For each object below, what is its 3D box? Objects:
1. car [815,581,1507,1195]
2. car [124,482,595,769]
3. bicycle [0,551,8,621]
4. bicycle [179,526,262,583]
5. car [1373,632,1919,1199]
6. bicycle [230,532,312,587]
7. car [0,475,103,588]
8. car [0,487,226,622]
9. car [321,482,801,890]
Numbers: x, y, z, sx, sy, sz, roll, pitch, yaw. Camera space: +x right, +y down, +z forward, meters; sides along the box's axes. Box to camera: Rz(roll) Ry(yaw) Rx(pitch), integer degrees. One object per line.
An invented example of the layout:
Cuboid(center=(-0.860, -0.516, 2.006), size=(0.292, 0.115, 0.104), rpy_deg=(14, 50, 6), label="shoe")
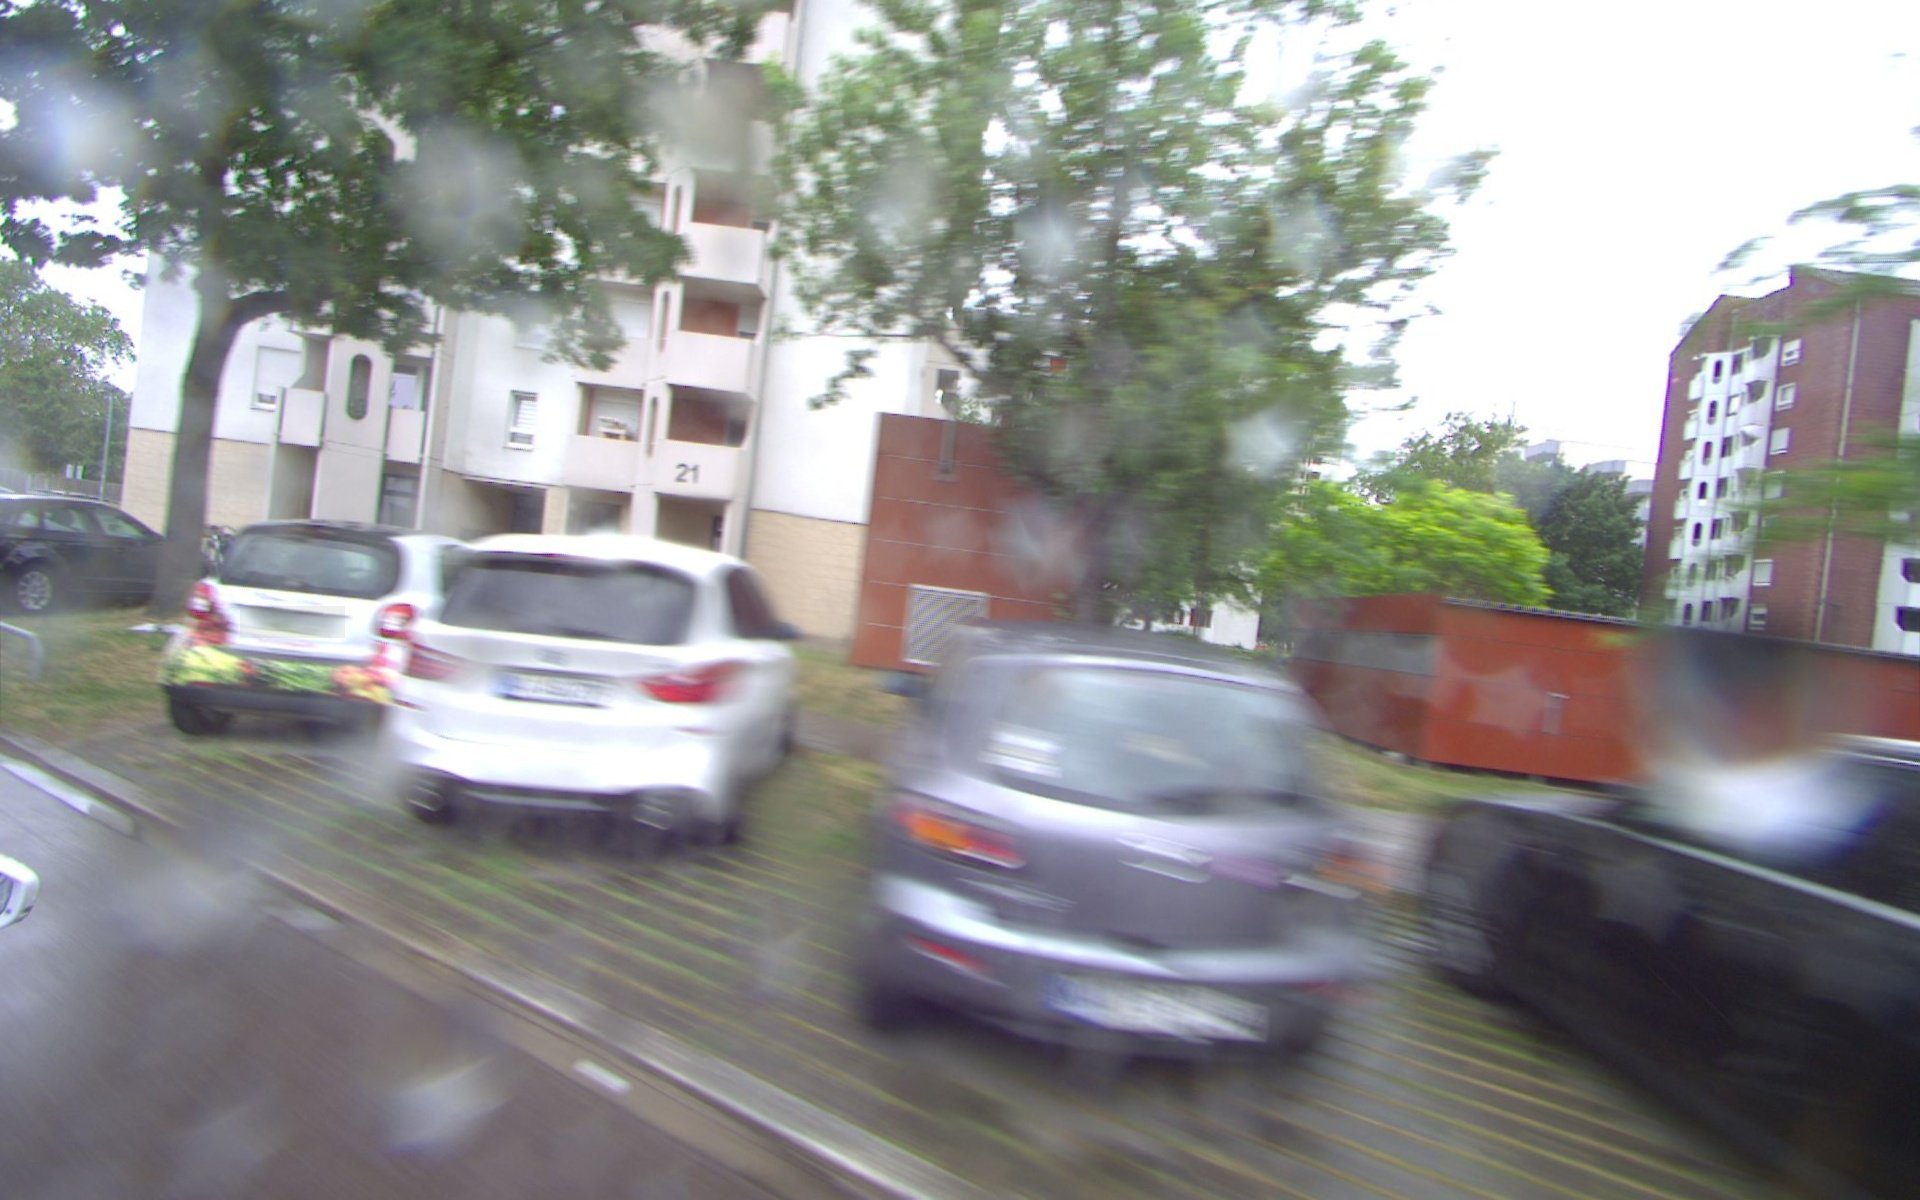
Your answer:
Cuboid(center=(0.474, 0.766, 4.959), size=(1.736, 1.429, 4.454), rpy_deg=(7, 2, -2), label="car")
Cuboid(center=(-4.659, 0.090, 8.633), size=(1.654, 1.694, 4.178), rpy_deg=(6, 2, -4), label="car")
Cuboid(center=(-6.638, 0.161, 6.125), size=(1.914, 1.106, 0.537), rpy_deg=(6, -1, 27), label="bicycle")
Cuboid(center=(-15.508, -0.961, 21.082), size=(2.025, 1.018, 0.662), rpy_deg=(6, -1, 33), label="bicycle")
Cuboid(center=(3.087, 1.064, 2.993), size=(1.654, 1.447, 4.455), rpy_deg=(7, 2, -1), label="car")
Cuboid(center=(-15.011, -0.890, 21.888), size=(2.025, 1.018, 0.662), rpy_deg=(6, -1, 33), label="bicycle")
Cuboid(center=(-14.517, -1.033, 14.096), size=(1.734, 1.568, 4.176), rpy_deg=(6, 2, -7), label="car")
Cuboid(center=(-11.728, -0.641, 13.050), size=(1.654, 1.451, 3.937), rpy_deg=(6, 2, -4), label="car")
Cuboid(center=(-2.150, 0.315, 6.784), size=(1.781, 1.694, 4.451), rpy_deg=(6, 2, -7), label="car")
